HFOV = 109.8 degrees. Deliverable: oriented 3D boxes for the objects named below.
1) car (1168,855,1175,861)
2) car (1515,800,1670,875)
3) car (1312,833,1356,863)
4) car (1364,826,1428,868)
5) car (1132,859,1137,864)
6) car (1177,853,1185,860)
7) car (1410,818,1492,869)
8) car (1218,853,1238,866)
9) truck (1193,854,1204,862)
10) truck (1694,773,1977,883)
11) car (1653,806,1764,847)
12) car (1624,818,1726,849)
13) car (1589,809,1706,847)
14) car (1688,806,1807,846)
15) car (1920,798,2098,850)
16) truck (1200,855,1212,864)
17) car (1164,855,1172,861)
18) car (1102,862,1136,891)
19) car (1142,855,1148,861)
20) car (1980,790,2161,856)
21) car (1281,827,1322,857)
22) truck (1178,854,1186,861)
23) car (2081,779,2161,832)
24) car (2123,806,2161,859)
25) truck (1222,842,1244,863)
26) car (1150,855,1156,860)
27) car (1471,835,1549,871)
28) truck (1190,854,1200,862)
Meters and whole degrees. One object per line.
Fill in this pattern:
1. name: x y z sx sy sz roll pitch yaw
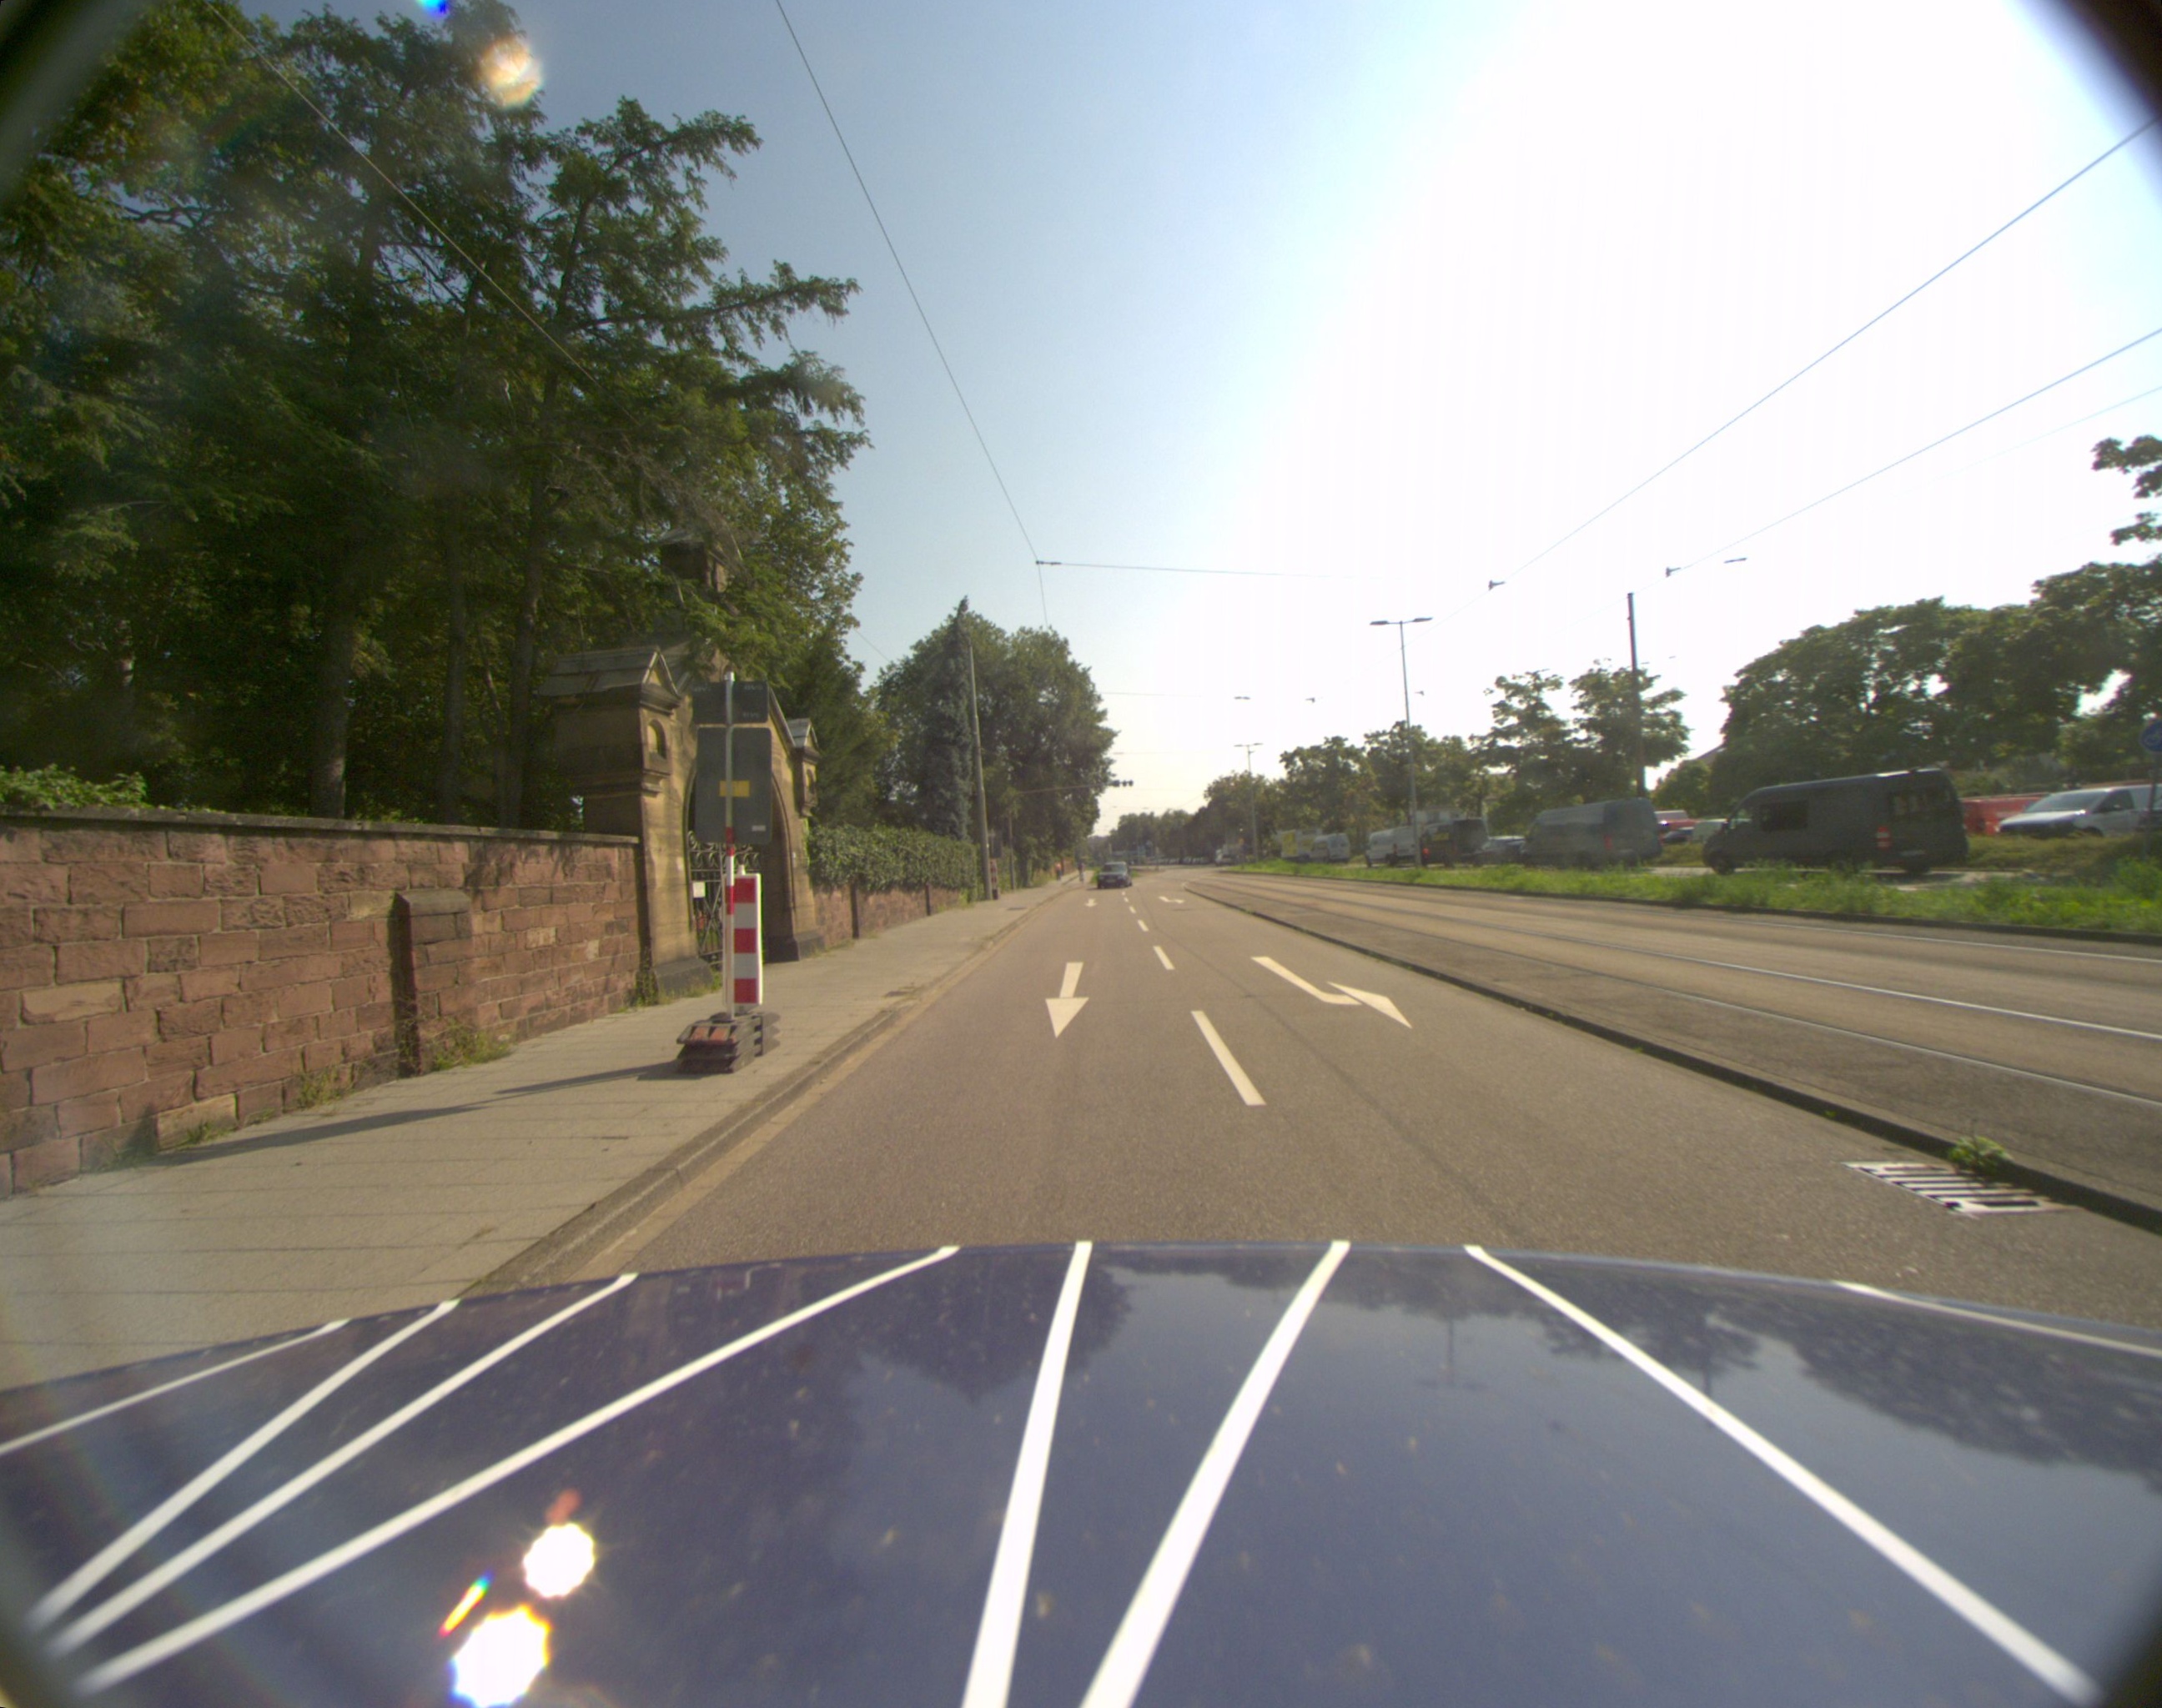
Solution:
1. car: 24.319 1.062 203.521 1.550 1.575 3.456 -2 0 1
2. car: 20.389 -0.584 30.784 1.993 2.571 6.468 -5 0 3
3. car: 21.737 -0.504 65.589 2.148 2.444 4.832 -2 0 1
4. car: 21.167 -0.449 51.309 2.137 2.571 5.632 -2 0 2
5. car: 18.182 2.512 257.158 1.550 1.575 3.456 -2 0 1
6. car: 25.330 0.592 192.195 1.550 1.758 3.646 -2 0 1
7. car: 20.845 -0.534 43.151 1.826 2.570 5.911 -5 -1 3
8. car: 18.258 0.622 94.327 1.929 1.510 3.950 -2 0 4
9. truck: 24.424 0.887 158.281 1.691 1.664 3.656 -2 0 2
10. truck: 20.176 -0.605 20.851 2.086 2.533 5.739 -2 0 1
11. car: 31.739 -1.369 38.532 3.996 1.827 1.857 -2 0 2
12. car: 32.107 -1.083 41.174 3.996 1.442 1.857 -2 0 2
13. car: 32.908 -1.473 44.233 5.198 1.914 2.053 -2 0 1
14. car: 31.462 -1.292 35.929 3.996 1.684 1.746 -2 0 2
15. car: 31.113 -0.981 25.553 3.933 1.509 1.633 -2 0 1
16. truck: 24.433 0.990 148.619 1.691 1.664 3.656 -2 0 2
17. car: 23.994 1.042 209.643 1.550 1.575 3.456 -2 0 1
18. car: 2.117 1.220 42.396 1.775 1.416 3.936 -2 0 3
19. car: 20.156 1.276 240.552 1.550 1.575 3.456 -2 0 1
20. car: 30.322 -0.920 22.904 4.409 1.774 1.633 -2 0 1
21. car: 21.731 -1.126 75.238 2.129 2.788 7.232 -2 0 2
22. truck: 24.759 0.820 185.935 1.691 1.664 3.656 -2 0 2
23. car: 45.936 -2.145 32.426 3.997 2.085 1.803 -4 0 0
24. car: 30.547 -0.649 20.199 3.413 1.417 1.633 -2 0 1
25. truck: 23.623 -0.228 118.456 2.278 3.103 8.789 -2 0 5
26. car: 21.808 1.114 228.959 1.550 1.575 3.456 -2 0 1
27. car: 20.859 -0.032 37.128 1.748 1.543 3.835 -4 0 4
28. truck: 24.806 0.815 165.940 1.691 1.664 3.656 -2 0 2
